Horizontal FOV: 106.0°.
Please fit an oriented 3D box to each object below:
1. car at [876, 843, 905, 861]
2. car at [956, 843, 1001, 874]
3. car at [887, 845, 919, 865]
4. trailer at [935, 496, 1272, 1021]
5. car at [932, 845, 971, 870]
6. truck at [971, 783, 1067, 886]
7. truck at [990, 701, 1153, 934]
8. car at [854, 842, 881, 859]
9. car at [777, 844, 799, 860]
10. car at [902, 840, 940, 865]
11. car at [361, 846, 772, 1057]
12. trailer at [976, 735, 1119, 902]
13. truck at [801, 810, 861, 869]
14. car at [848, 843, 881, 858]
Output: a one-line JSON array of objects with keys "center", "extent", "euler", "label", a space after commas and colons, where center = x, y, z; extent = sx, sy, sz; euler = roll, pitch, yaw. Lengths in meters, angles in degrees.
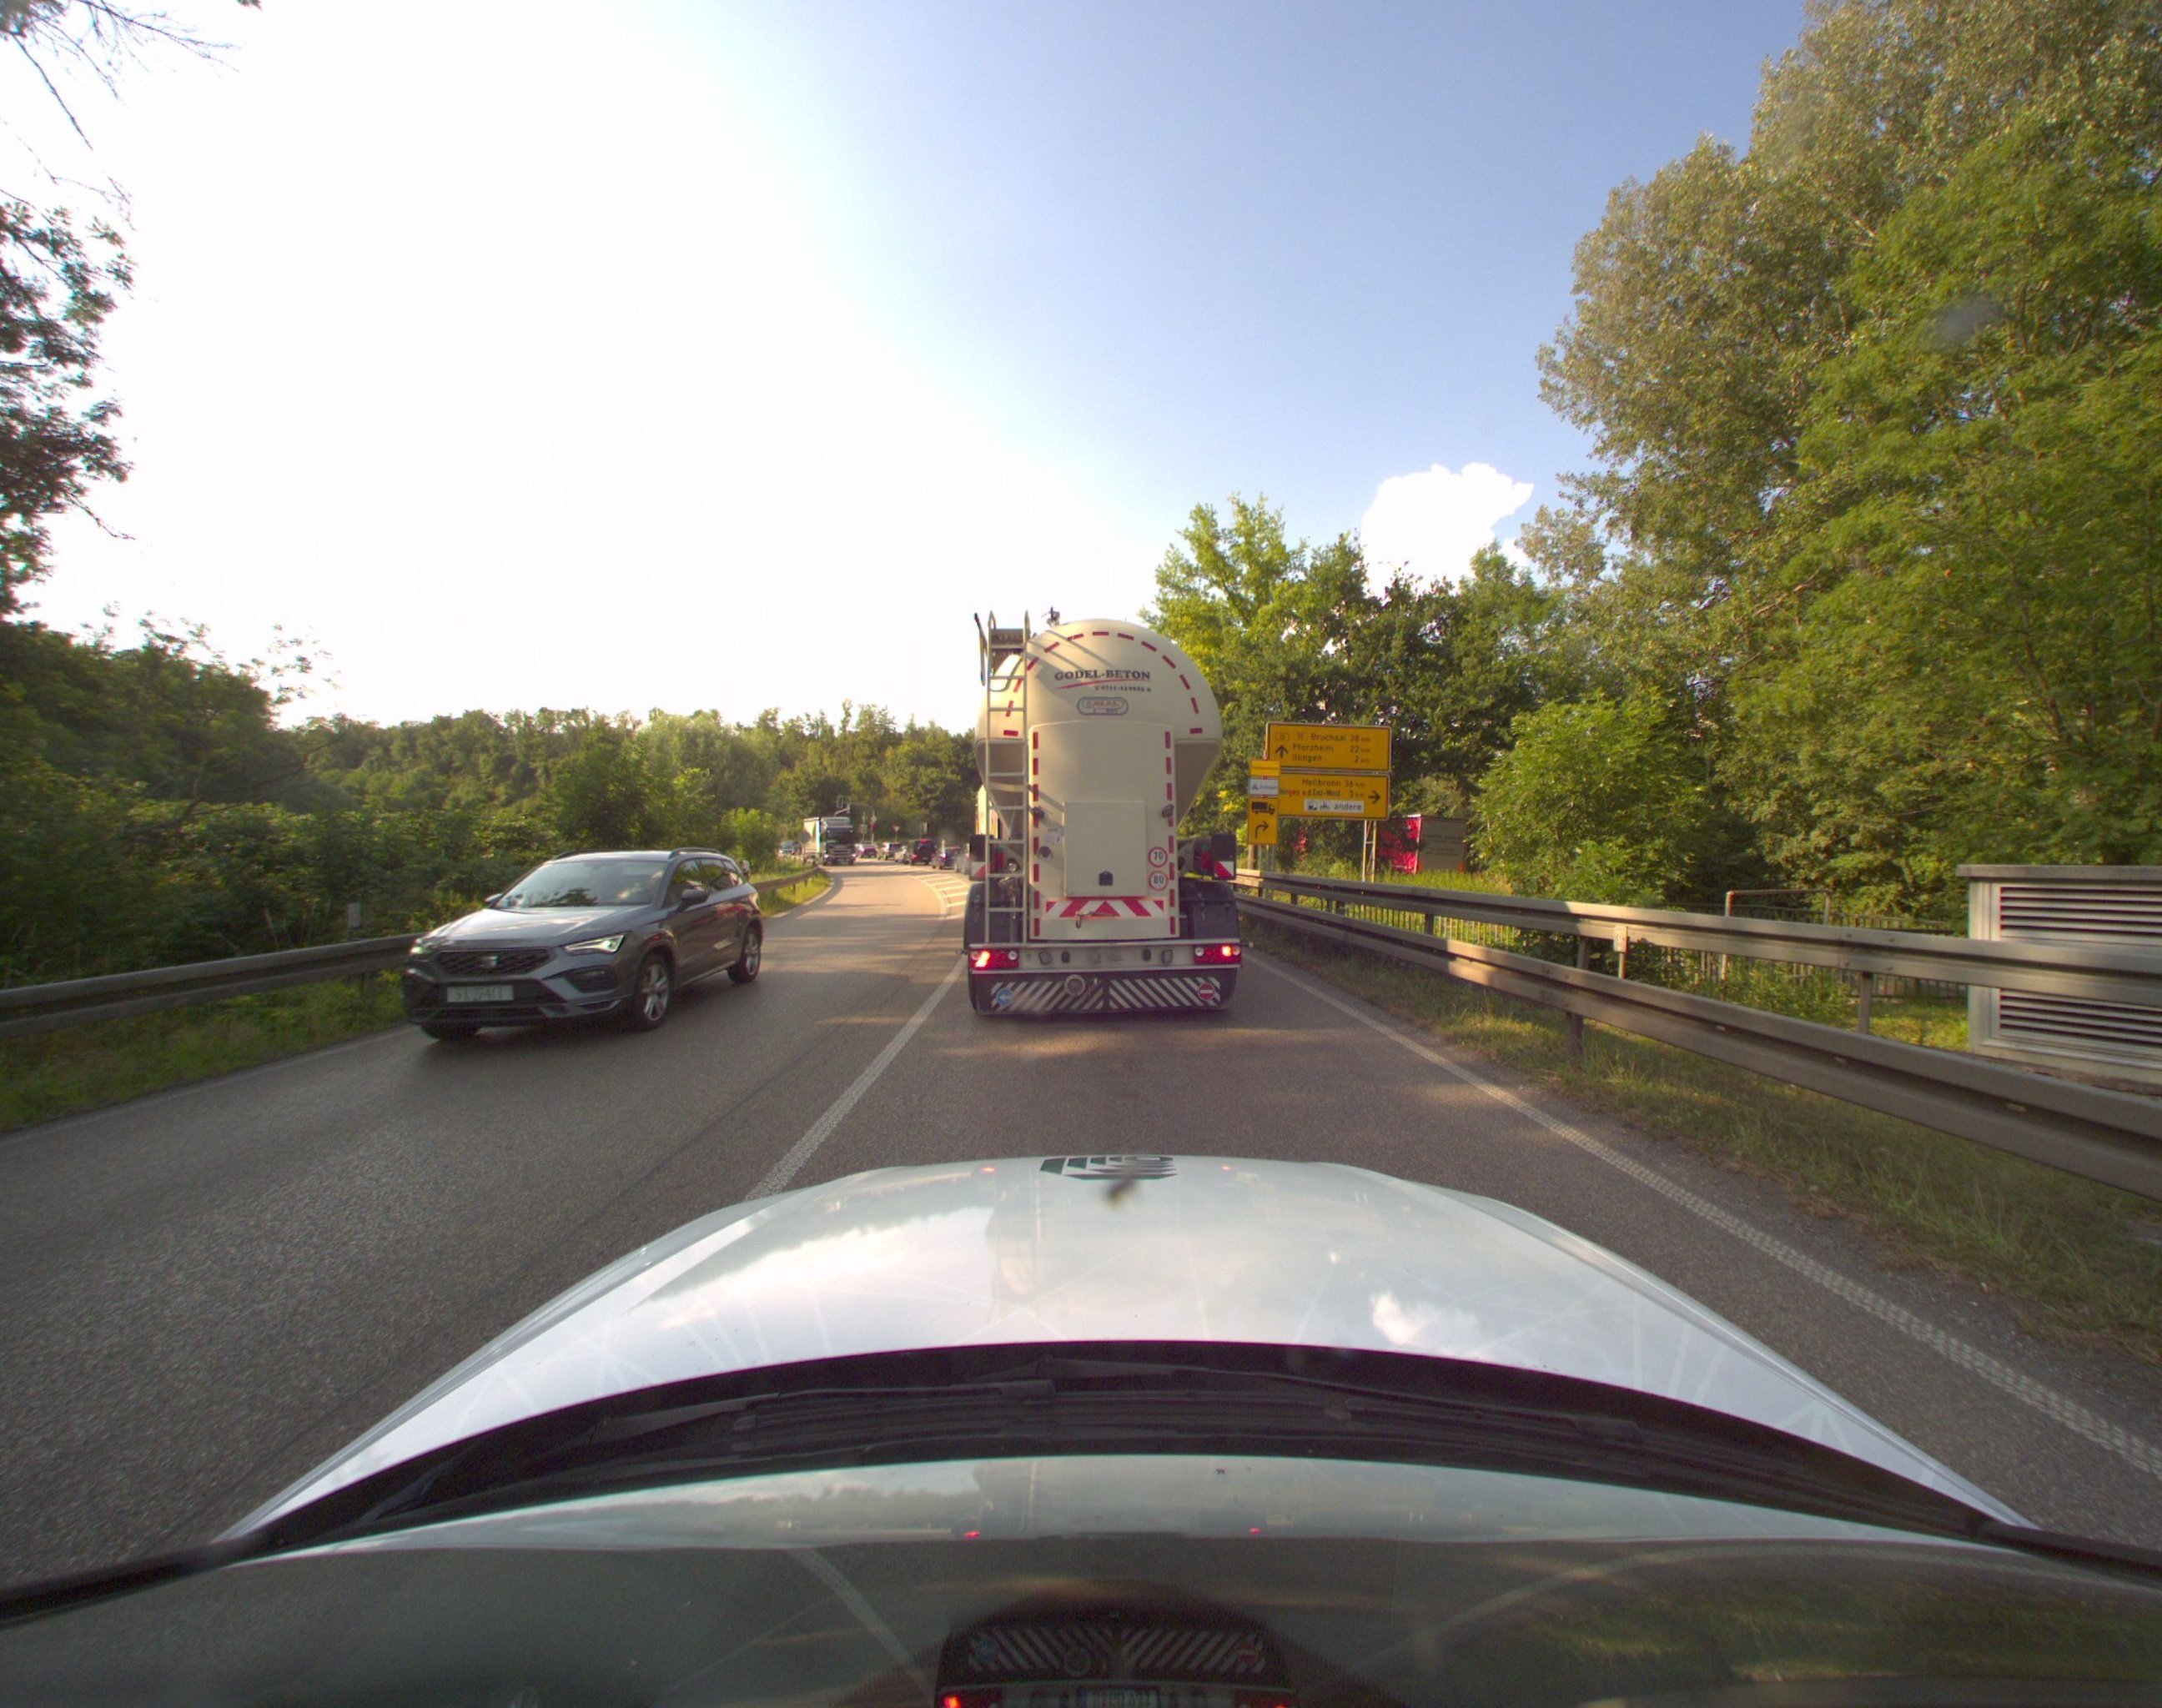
[{"center": [-17.800, -0.231, 76.033], "extent": [1.876, 1.595, 3.968], "euler": [2, 0, -25], "label": "car"}, {"center": [-5.848, 0.233, 46.038], "extent": [1.872, 1.628, 3.978], "euler": [-2, 1, -16], "label": "car"}, {"center": [-15.556, 0.067, 71.206], "extent": [1.877, 1.683, 3.967], "euler": [1, 0, -25], "label": "car"}, {"center": [-0.004, -0.824, 11.797], "extent": [2.880, 4.454, 9.596], "euler": [0, 0, -3], "label": "trailer"}, {"center": [-8.668, 0.195, 54.077], "extent": [1.873, 1.564, 3.974], "euler": [-2, 1, -19], "label": "car"}, {"center": [-2.876, -0.747, 35.737], "extent": [3.452, 4.086, 6.465], "euler": [0, 0, -11], "label": "truck"}, {"center": [-0.390, -0.654, 17.184], "extent": [2.819, 4.035, 5.884], "euler": [0, 0, -5], "label": "truck"}, {"center": [-21.858, -0.368, 83.415], "extent": [1.878, 1.565, 3.965], "euler": [1, 0, -27], "label": "car"}, {"center": [-31.224, -0.241, 86.863], "extent": [1.876, 1.556, 3.968], "euler": [1, 0, -24], "label": "car"}, {"center": [-12.389, -0.125, 62.956], "extent": [1.966, 1.851, 3.968], "euler": [-2, 1, -24], "label": "car"}, {"center": [-4.703, 0.733, 8.277], "extent": [1.865, 1.565, 3.993], "euler": [-1, 0, -5], "label": "car"}, {"center": [-1.714, -0.937, 28.766], "extent": [3.545, 4.513, 12.943], "euler": [0, 0, -9], "label": "trailer"}, {"center": [-20.901, -1.104, 67.656], "extent": [3.029, 4.585, 10.149], "euler": [0, 0, -27], "label": "truck"}, {"center": [-29.040, -0.451, 109.396], "extent": [4.005, 1.851, 1.859], "euler": [1, 0, -25], "label": "car"}]
